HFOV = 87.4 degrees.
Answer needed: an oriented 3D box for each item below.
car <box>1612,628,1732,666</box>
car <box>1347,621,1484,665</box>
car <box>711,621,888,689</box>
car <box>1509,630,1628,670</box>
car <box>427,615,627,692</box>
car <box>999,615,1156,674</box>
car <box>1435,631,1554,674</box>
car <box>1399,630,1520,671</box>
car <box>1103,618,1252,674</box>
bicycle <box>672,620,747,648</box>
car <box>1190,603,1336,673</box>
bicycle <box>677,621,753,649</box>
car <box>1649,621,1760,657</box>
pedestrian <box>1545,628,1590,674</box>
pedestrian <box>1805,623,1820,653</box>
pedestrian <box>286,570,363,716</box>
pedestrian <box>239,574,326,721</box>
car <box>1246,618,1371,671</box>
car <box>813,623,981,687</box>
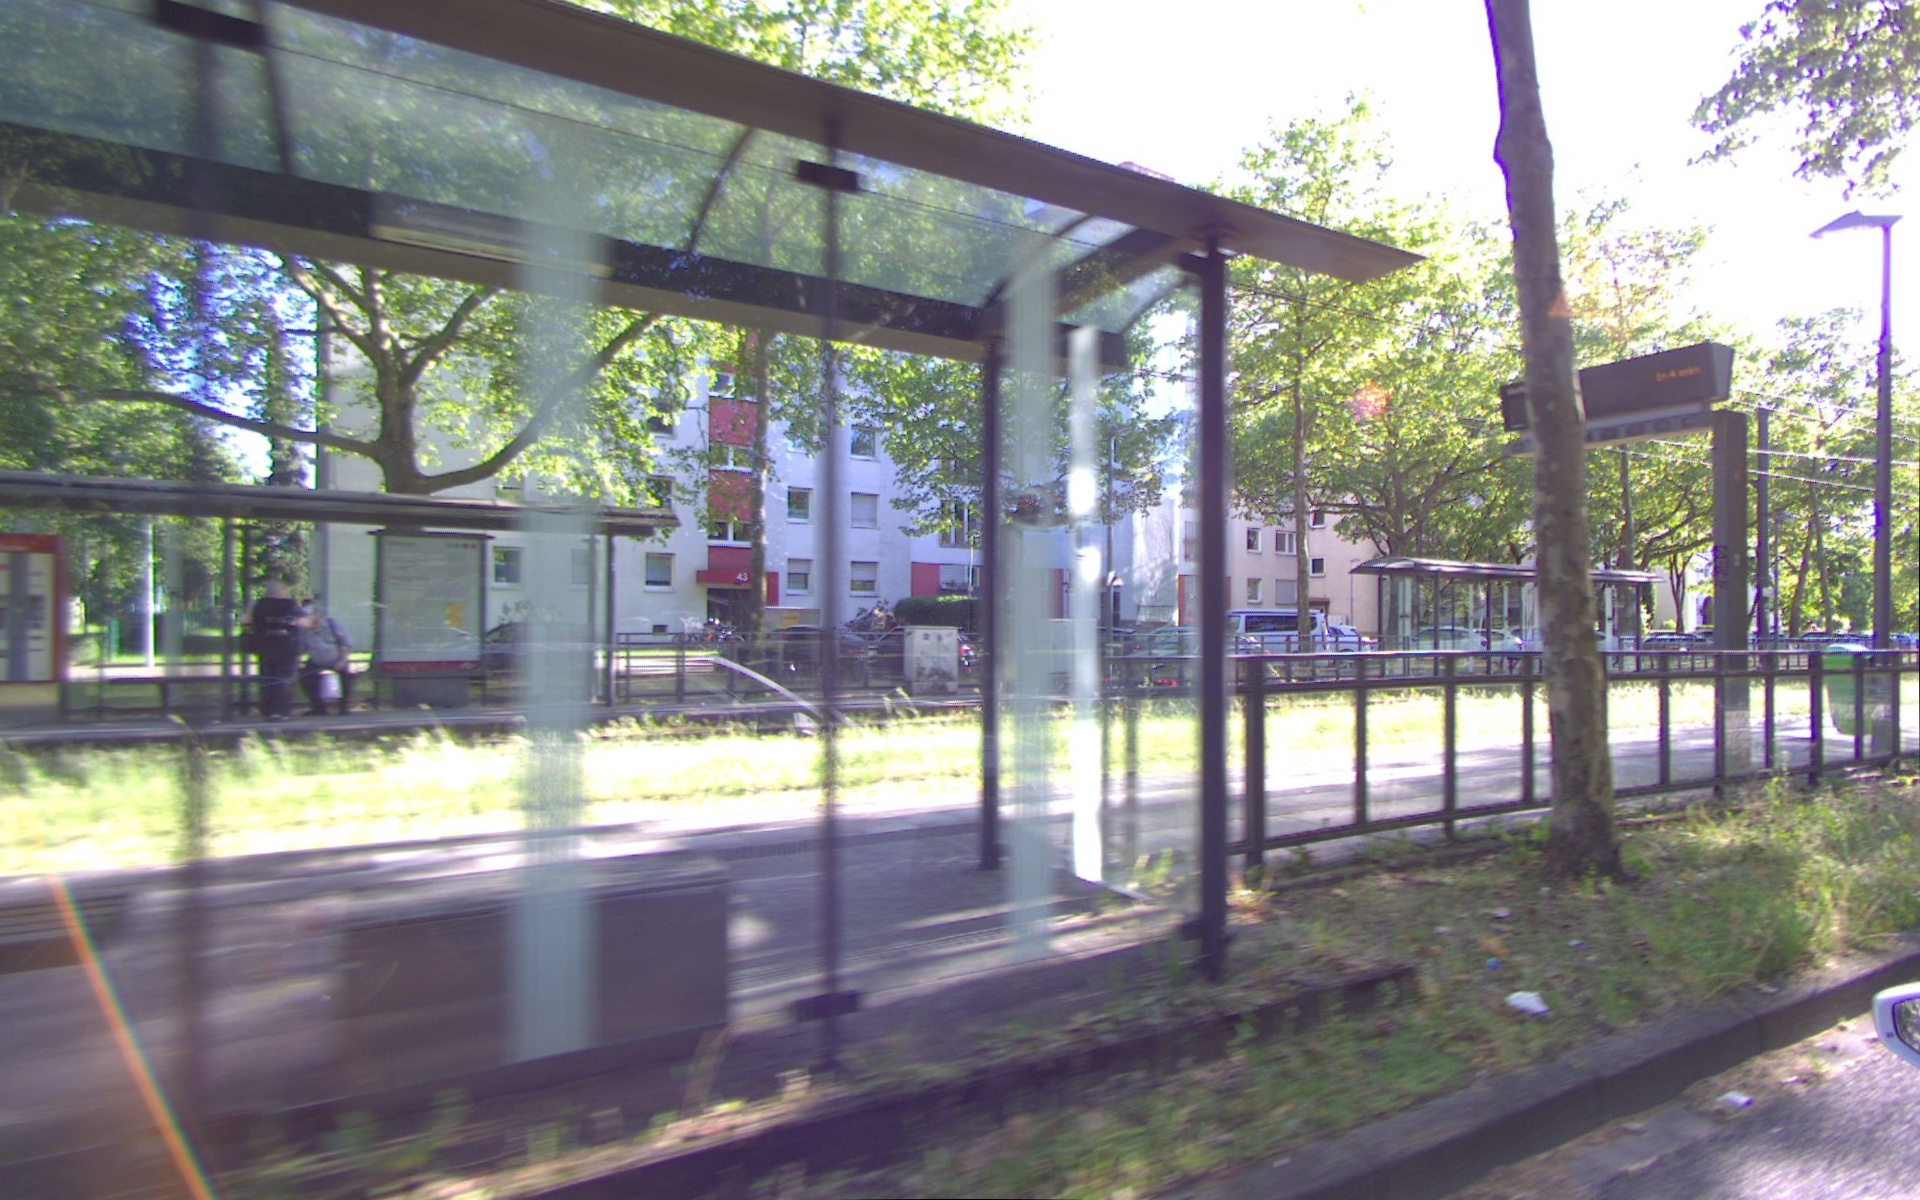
[{"bbox_3d":[32.210,2.124,45.549,4.091,1.565,1.647,1,0,12],"label":"car"},{"bbox_3d":[17.144,1.600,38.021,4.409,1.524,1.901,1,0,12],"label":"car"},{"bbox_3d":[-4.044,1.328,25.293,4.118,1.447,1.699,1,1,22],"label":"car"},{"bbox_3d":[25.598,2.084,42.350,3.977,1.493,1.577,1,0,12],"label":"car"},{"bbox_3d":[-9.677,1.139,22.442,4.118,1.447,1.699,1,1,22],"label":"car"},{"bbox_3d":[3.567,1.303,30.461,4.411,1.518,1.900,1,1,19],"label":"car"},{"bbox_3d":[21.803,2.127,41.111,3.977,1.590,1.576,1,1,12],"label":"car"},{"bbox_3d":[19.568,1.961,39.466,3.977,1.452,1.577,1,0,12],"label":"car"},{"bbox_3d":[6.897,1.409,31.757,4.411,1.518,1.900,1,1,19],"label":"car"},{"bbox_3d":[-9.075,1.221,36.506,2.568,0.940,0.691,0,1,-34],"label":"bicycle"},{"bbox_3d":[9.932,1.187,32.930,4.413,2.091,1.899,1,1,22],"label":"car"},{"bbox_3d":[-8.739,1.228,35.878,2.568,0.940,0.691,0,1,-34],"label":"bicycle"},{"bbox_3d":[35.561,1.851,48.101,3.914,1.565,1.646,1,0,19],"label":"car"},{"bbox_3d":[15.174,1.283,25.105,0.654,1.142,0.692,2,-4,-29],"label":"pedestrian"},{"bbox_3d":[52.065,2.320,61.336,0.709,1.816,0.473,2,0,-31],"label":"pedestrian"},{"bbox_3d":[-7.503,0.508,11.888,0.707,1.656,0.725,2,-2,-32],"label":"pedestrian"},{"bbox_3d":[-7.390,0.517,10.990,0.675,1.533,0.640,1,-2,-27],"label":"pedestrian"},{"bbox_3d":[11.951,1.500,34.688,3.979,1.632,1.690,1,0,17],"label":"car"},{"bbox_3d":[-1.680,1.406,26.711,4.118,1.447,1.699,1,1,22],"label":"car"}]
